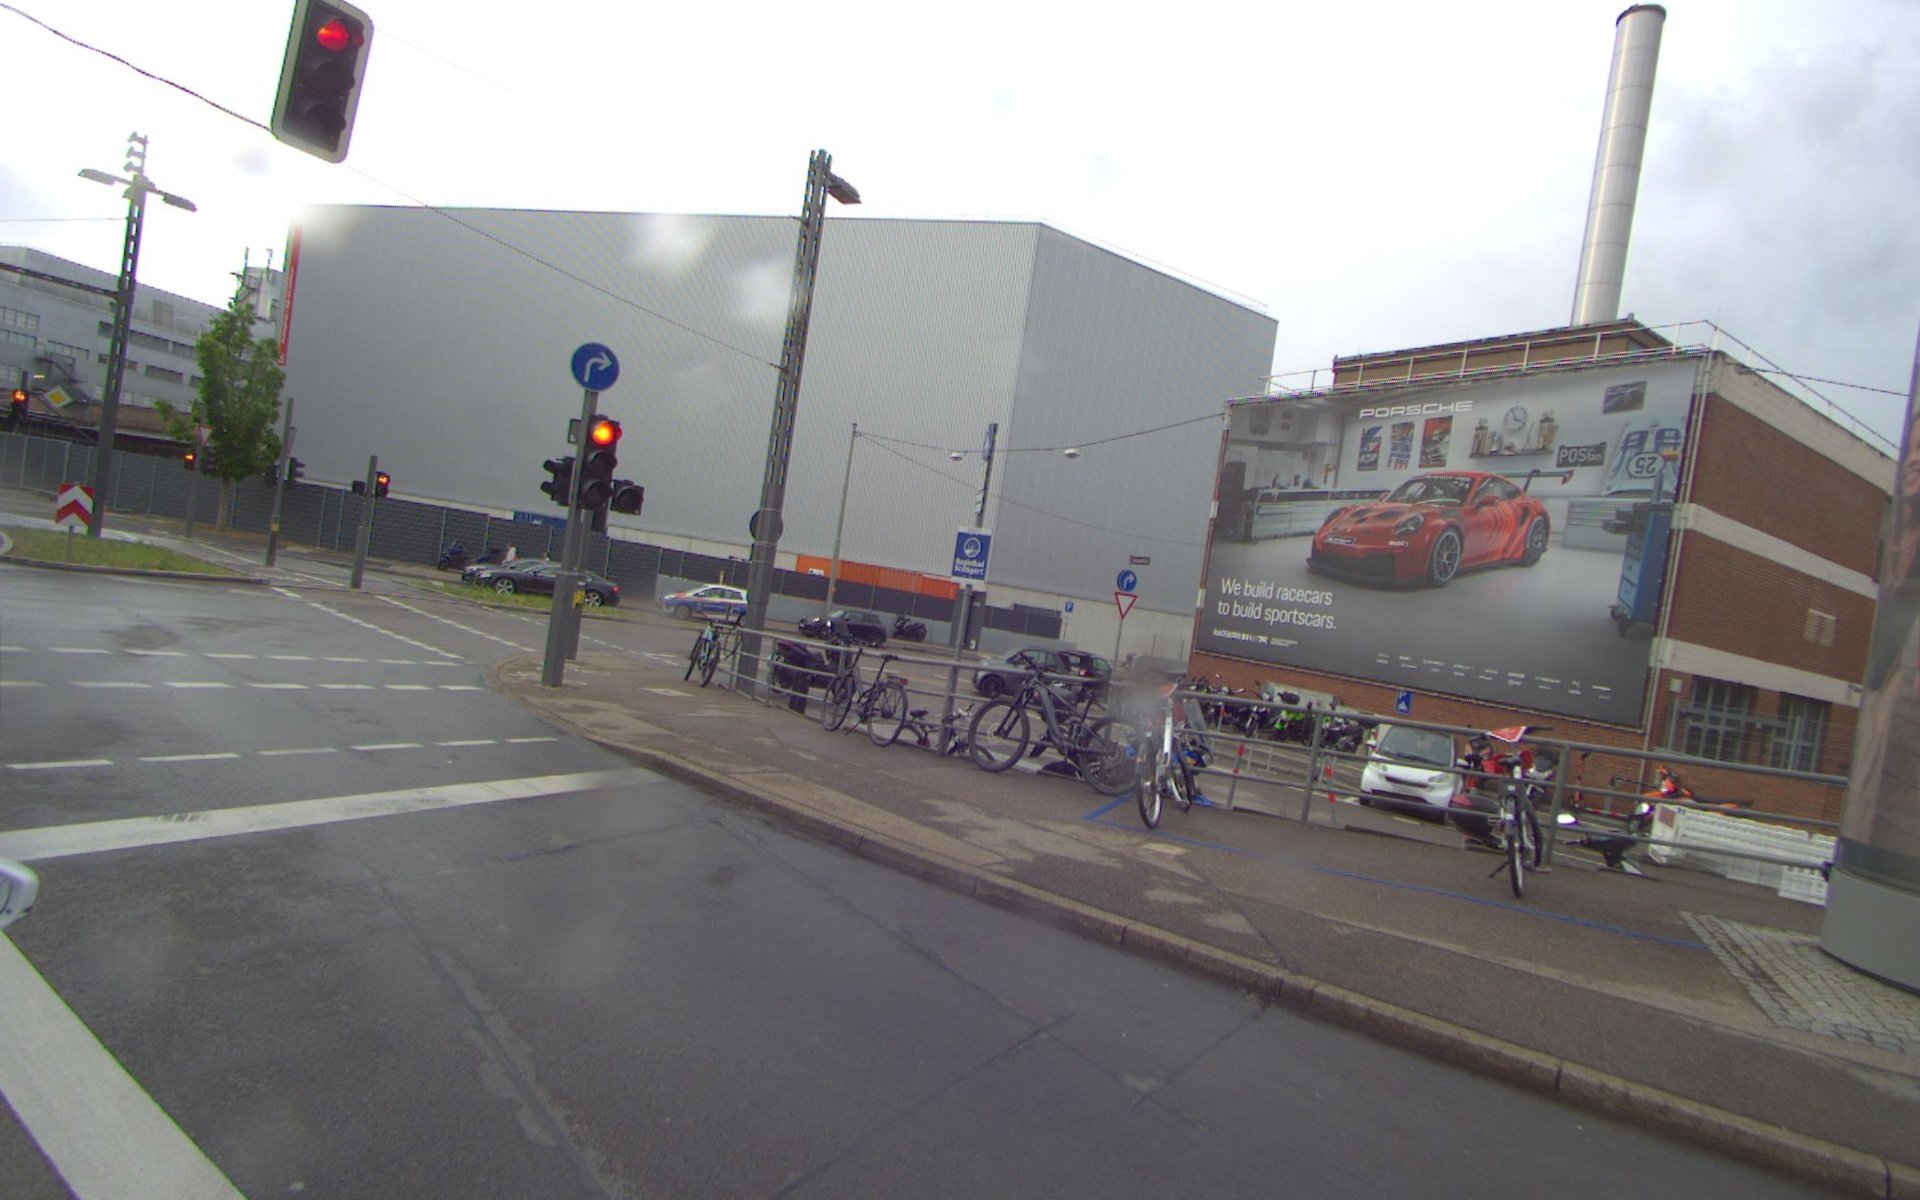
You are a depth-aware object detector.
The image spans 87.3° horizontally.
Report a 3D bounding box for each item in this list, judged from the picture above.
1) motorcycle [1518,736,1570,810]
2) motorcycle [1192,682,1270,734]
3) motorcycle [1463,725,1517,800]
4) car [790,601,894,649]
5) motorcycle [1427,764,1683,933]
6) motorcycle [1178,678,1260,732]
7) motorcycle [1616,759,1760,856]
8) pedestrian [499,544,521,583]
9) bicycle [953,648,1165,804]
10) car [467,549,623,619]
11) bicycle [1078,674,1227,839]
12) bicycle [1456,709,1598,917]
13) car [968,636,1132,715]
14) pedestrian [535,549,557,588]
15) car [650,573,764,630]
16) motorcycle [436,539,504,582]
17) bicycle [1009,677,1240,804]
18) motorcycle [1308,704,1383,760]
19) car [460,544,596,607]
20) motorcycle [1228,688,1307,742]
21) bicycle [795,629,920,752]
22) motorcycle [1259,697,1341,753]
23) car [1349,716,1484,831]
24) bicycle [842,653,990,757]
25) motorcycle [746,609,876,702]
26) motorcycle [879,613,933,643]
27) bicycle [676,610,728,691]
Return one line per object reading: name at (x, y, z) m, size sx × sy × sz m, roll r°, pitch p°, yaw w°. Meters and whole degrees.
motorcycle at (12.494, 3.667, 21.497) m, size 0.564 × 1.327 × 1.863 m, roll 10°, pitch 3°, yaw 37°
motorcycle at (7.294, 2.914, 27.074) m, size 1.998 × 1.206 × 0.605 m, roll 6°, pitch 3°, yaw -27°
motorcycle at (11.626, 3.531, 22.042) m, size 0.677 × 1.327 × 2.016 m, roll 9°, pitch 3°, yaw 33°
car at (-5.035, 1.081, 43.111) m, size 3.958 × 1.408 × 1.744 m, roll 10°, pitch -1°, yaw -29°
motorcycle at (5.117, 2.120, 8.788) m, size 1.718 × 1.002 × 0.699 m, roll 8°, pitch 0°, yaw 21°
motorcycle at (7.248, 2.933, 28.196) m, size 1.987 × 1.206 × 0.608 m, roll 7°, pitch 3°, yaw -4°
motorcycle at (14.109, 3.987, 19.535) m, size 0.922 × 1.327 × 1.961 m, roll 5°, pitch 4°, yaw -41°
pedestrian at (-18.142, -1.481, 40.558) m, size 0.605 × 1.499 × 0.421 m, roll 7°, pitch 0°, yaw -23°
bicycle at (0.904, 1.159, 9.640) m, size 1.969 × 1.176 × 0.385 m, roll 6°, pitch 0°, yaw 35°
car at (-13.815, -0.531, 33.542) m, size 4.536 × 1.557 × 1.744 m, roll 10°, pitch -1°, yaw -29°
bicycle at (1.662, 1.238, 8.427) m, size 0.666 × 1.154 × 1.774 m, roll 6°, pitch -1°, yaw 27°
bicycle at (4.117, 1.477, 7.423) m, size 0.581 × 1.176 × 1.805 m, roll 6°, pitch 0°, yaw 23°
car at (2.396, 2.022, 27.495) m, size 4.091 × 1.547 × 1.836 m, roll 8°, pitch -2°, yaw -3°
pedestrian at (-16.737, -1.277, 40.663) m, size 0.642 × 1.499 × 0.436 m, roll 7°, pitch 0°, yaw -25°
car at (-10.093, 0.080, 40.150) m, size 3.939 × 1.620 × 1.897 m, roll 10°, pitch -1°, yaw -29°
motorcycle at (-19.761, -1.589, 40.592) m, size 2.335 × 1.360 × 0.648 m, roll 8°, pitch 0°, yaw -30°
bicycle at (1.643, 1.384, 10.245) m, size 2.138 × 0.916 × 0.693 m, roll 6°, pitch -1°, yaw 32°
motorcycle at (9.313, 3.191, 24.284) m, size 2.005 × 1.206 × 0.603 m, roll 6°, pitch 3°, yaw -38°
car at (-15.596, -0.874, 36.346) m, size 4.254 × 1.557 × 1.744 m, roll 10°, pitch -1°, yaw -29°
motorcycle at (7.989, 2.992, 26.098) m, size 1.999 × 1.206 × 0.605 m, roll 6°, pitch 3°, yaw -29°
bicycle at (-1.186, 0.976, 11.266) m, size 0.383 × 1.133 × 1.731 m, roll 6°, pitch 0°, yaw -40°
motorcycle at (8.453, 3.109, 25.020) m, size 1.999 × 1.206 × 0.605 m, roll 6°, pitch 3°, yaw -29°
car at (8.498, 3.090, 18.587) m, size 1.665 × 1.499 × 3.555 m, roll 10°, pitch 1°, yaw 31°
bicycle at (-0.536, 1.177, 11.516) m, size 1.789 × 0.916 × 0.530 m, roll 6°, pitch -1°, yaw 44°
motorcycle at (-2.680, 1.044, 18.378) m, size 0.746 × 1.469 × 2.225 m, roll 8°, pitch -1°, yaw 42°
motorcycle at (-2.768, 1.468, 51.675) m, size 2.471 × 1.200 × 0.991 m, roll 8°, pitch -1°, yaw -34°
bicycle at (-4.132, 0.780, 16.067) m, size 0.381 × 1.111 × 1.740 m, roll 6°, pitch 0°, yaw -25°
